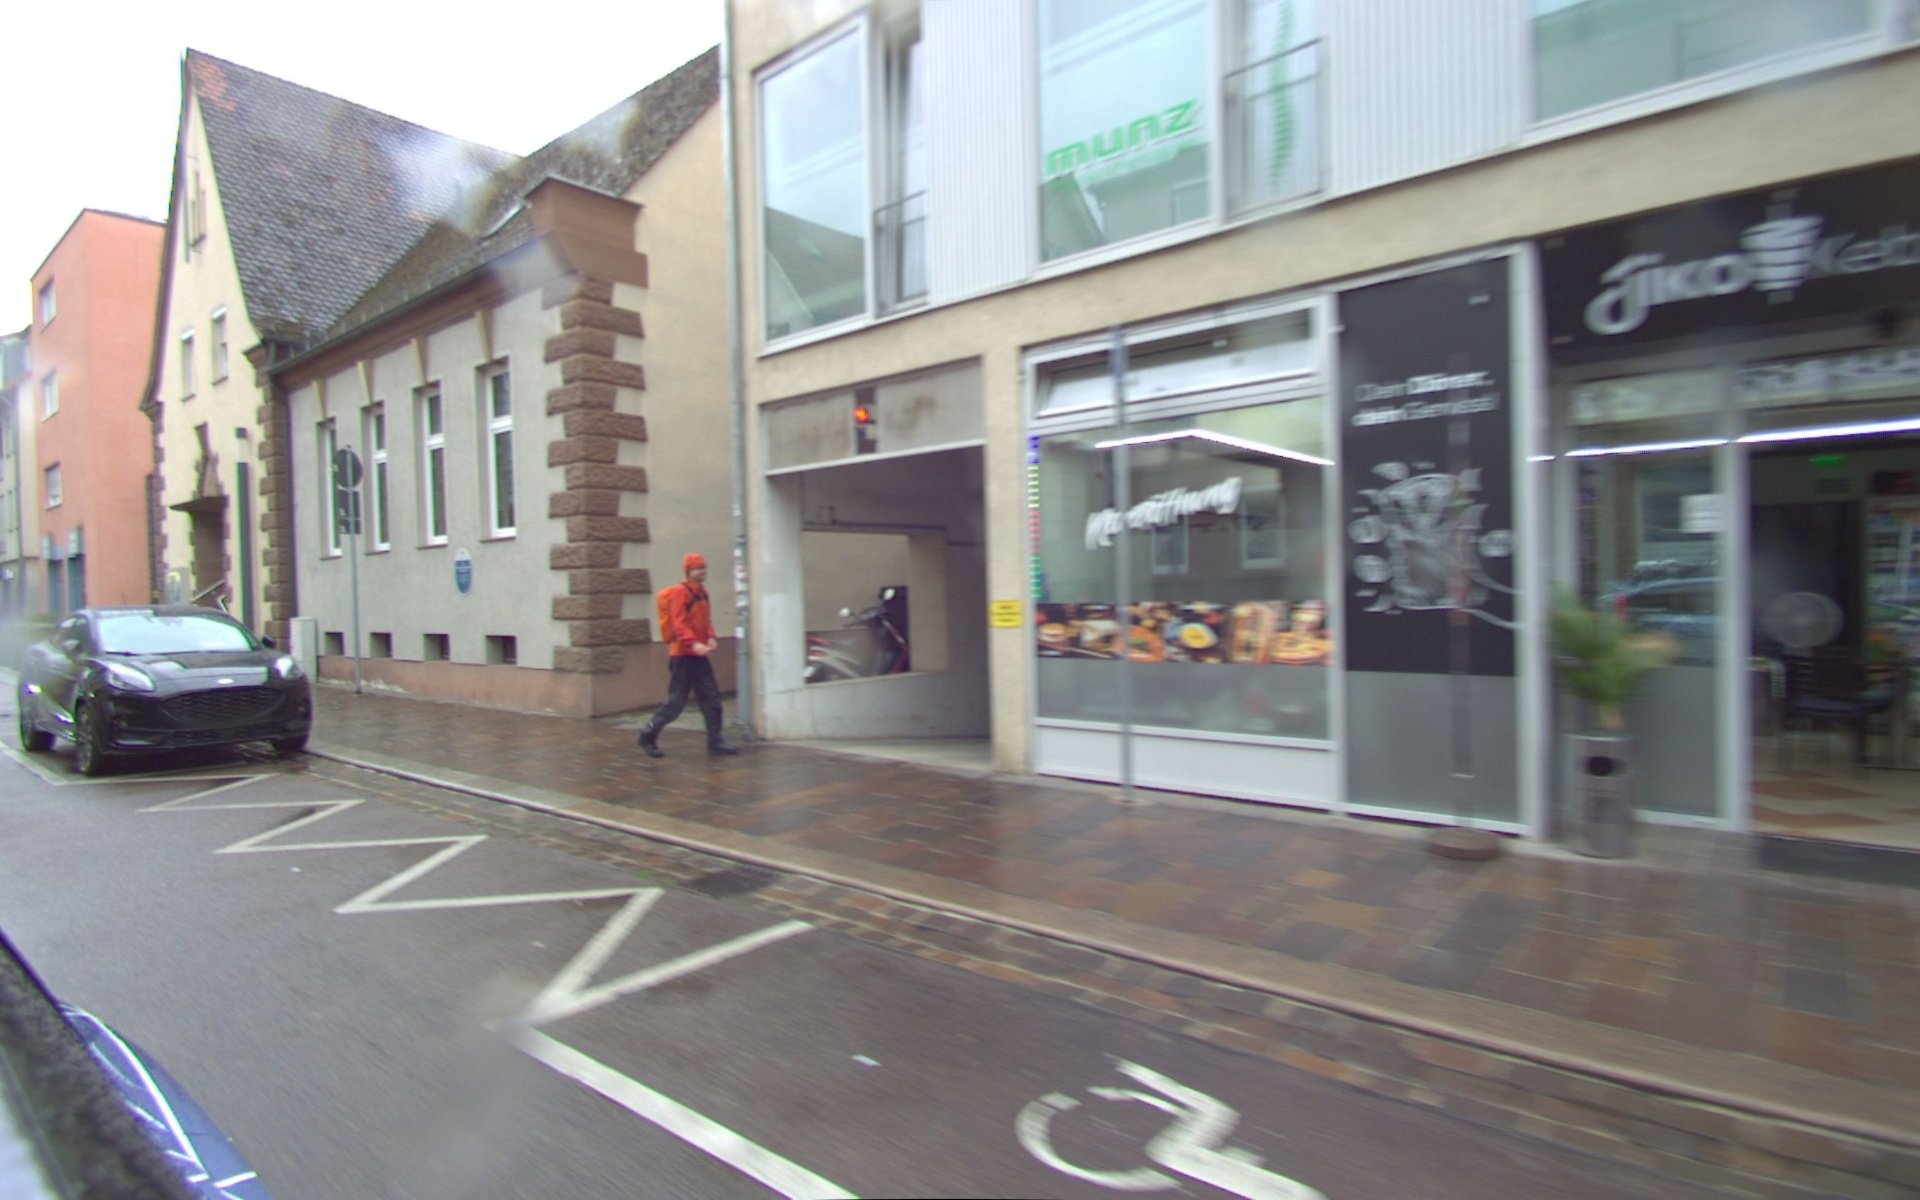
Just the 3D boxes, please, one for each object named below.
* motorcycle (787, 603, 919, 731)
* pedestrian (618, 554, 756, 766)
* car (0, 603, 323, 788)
[{"bbox_3d":[-1.152,0.693,11.156,0.536,1.300,1.491,-1,0,40],"label":"motorcycle"},{"bbox_3d":[-2.405,0.508,8.939,1.001,1.790,0.548,-1,1,20],"label":"pedestrian"},{"bbox_3d":[-8.305,0.834,10.418,3.925,1.537,1.719,-1,0,38],"label":"car"}]
